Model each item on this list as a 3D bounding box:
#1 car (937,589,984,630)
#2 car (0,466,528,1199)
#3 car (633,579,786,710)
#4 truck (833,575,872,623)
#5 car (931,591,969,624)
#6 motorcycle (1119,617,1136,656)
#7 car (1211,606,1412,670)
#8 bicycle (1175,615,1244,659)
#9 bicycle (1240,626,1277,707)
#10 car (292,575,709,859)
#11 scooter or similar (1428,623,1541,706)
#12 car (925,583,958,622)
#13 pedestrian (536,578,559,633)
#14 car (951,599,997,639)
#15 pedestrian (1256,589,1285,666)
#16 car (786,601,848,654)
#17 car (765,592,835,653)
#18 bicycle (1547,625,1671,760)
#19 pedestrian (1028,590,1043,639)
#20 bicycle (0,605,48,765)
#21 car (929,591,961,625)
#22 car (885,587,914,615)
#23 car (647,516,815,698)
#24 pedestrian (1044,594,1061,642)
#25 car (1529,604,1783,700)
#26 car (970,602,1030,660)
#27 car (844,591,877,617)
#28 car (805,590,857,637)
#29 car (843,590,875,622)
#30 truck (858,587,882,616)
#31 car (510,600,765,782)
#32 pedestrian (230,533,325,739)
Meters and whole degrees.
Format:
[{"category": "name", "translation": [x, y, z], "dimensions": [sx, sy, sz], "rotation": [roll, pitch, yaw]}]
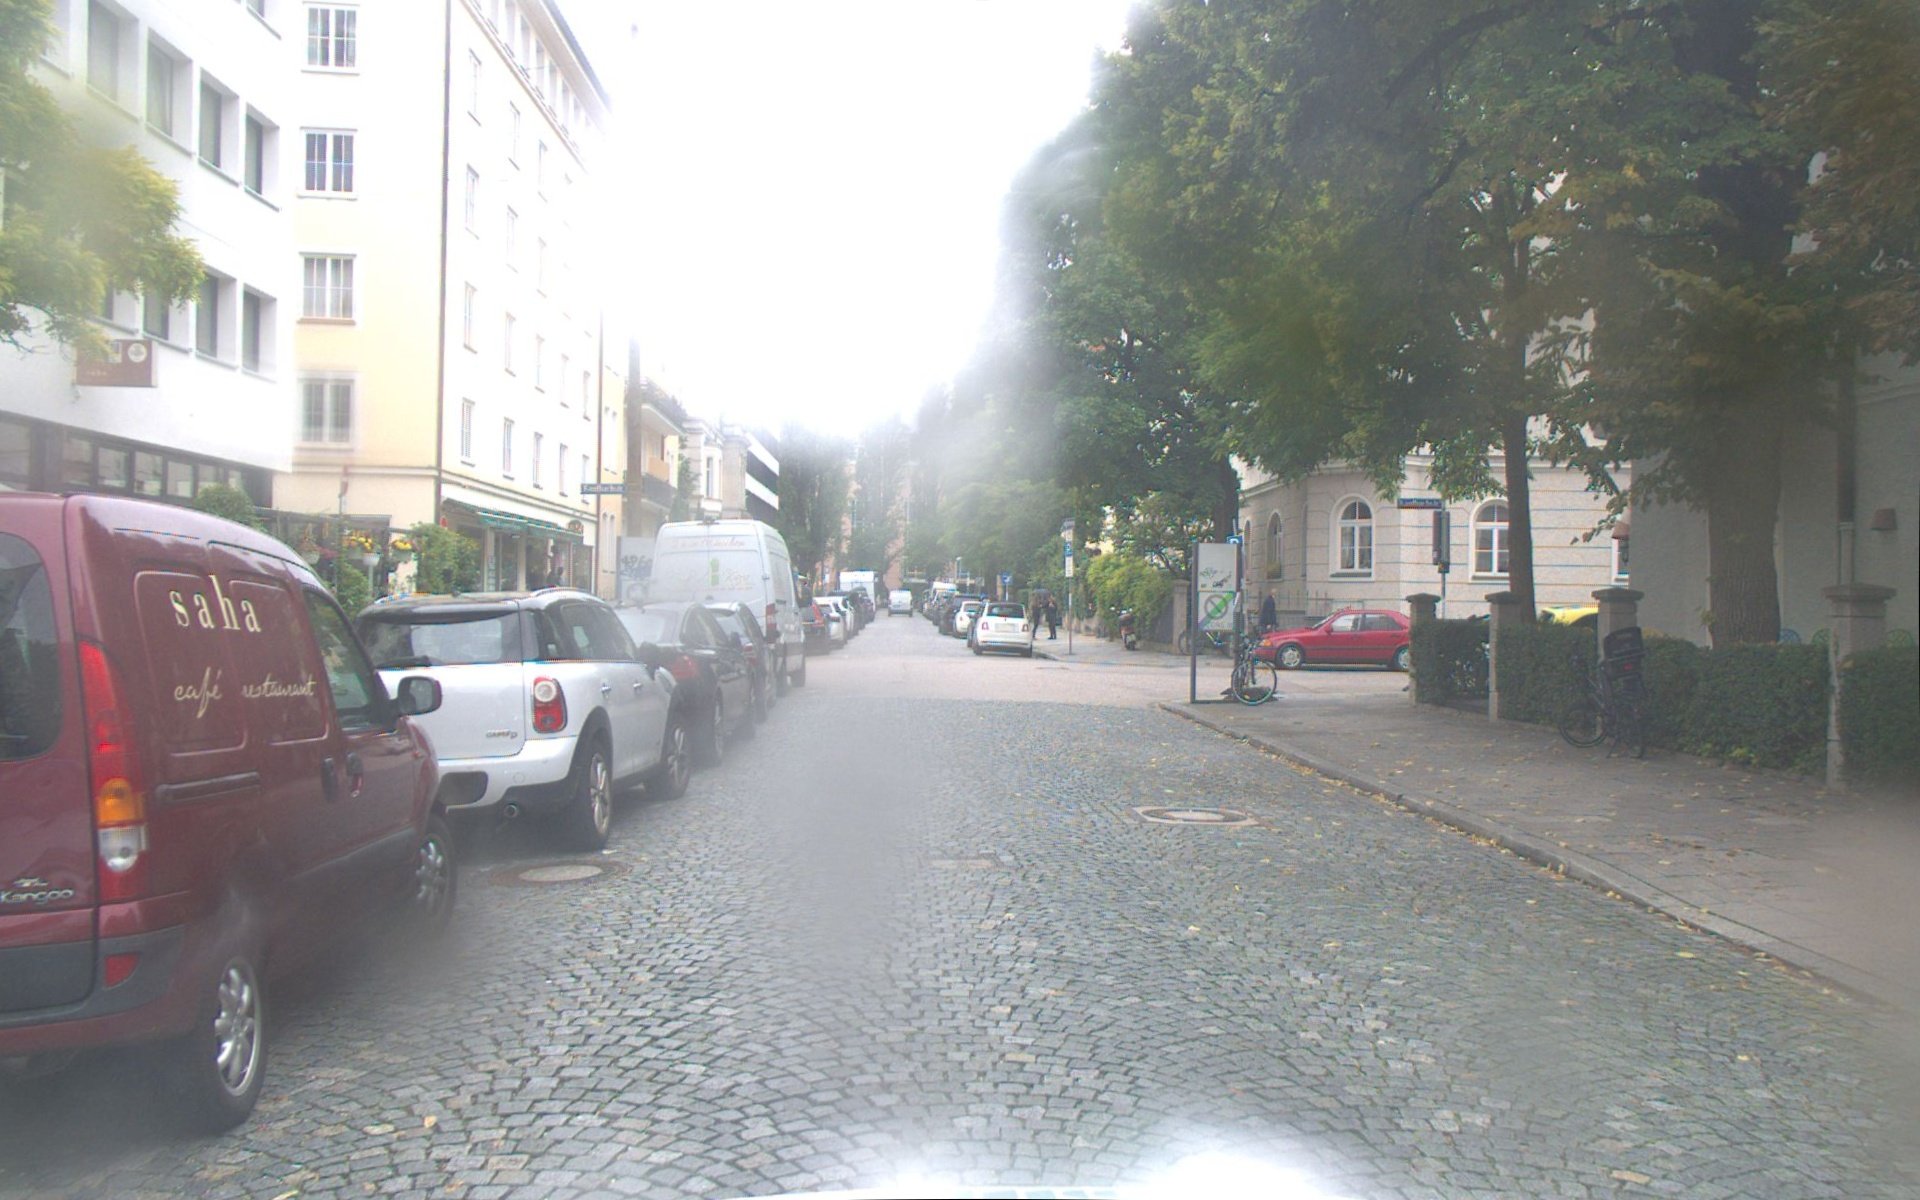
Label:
[{"category": "car", "translation": [-0.016, 0.411, 73.087], "dimensions": [1.837, 1.702, 5.488], "rotation": [1, 0, -2]}, {"category": "car", "translation": [-2.812, 0.570, 5.846], "dimensions": [1.683, 1.753, 3.897], "rotation": [0, 0, -2]}, {"category": "car", "translation": [-3.170, 0.540, 21.543], "dimensions": [1.629, 1.508, 3.978], "rotation": [1, 0, -4]}, {"category": "truck", "translation": [-7.161, -0.116, 110.282], "dimensions": [2.458, 3.084, 6.380], "rotation": [-1, 0, -3]}, {"category": "car", "translation": [-0.594, 0.428, 93.584], "dimensions": [1.924, 1.789, 4.951], "rotation": [1, 0, -3]}, {"category": "motorcycle", "translation": [4.878, 1.050, 48.166], "dimensions": [0.355, 1.109, 1.403], "rotation": [1, -1, 0]}, {"category": "car", "translation": [8.098, 0.862, 38.385], "dimensions": [4.373, 1.382, 1.761], "rotation": [1, 0, 5]}, {"category": "bicycle", "translation": [6.617, 0.977, 43.840], "dimensions": [1.798, 1.144, 0.563], "rotation": [1, 0, 11]}, {"category": "bicycle", "translation": [4.505, 0.986, 25.021], "dimensions": [0.380, 1.167, 1.590], "rotation": [1, -1, 4]}, {"category": "car", "translation": [-2.831, 0.661, 11.044], "dimensions": [1.658, 1.530, 3.777], "rotation": [1, 0, 1]}, {"category": "scooter or similar", "translation": [7.743, 0.944, 24.427], "dimensions": [1.569, 1.193, 0.405], "rotation": [0, -1, 21]}, {"category": "car", "translation": [-1.281, 0.136, 112.129], "dimensions": [1.858, 2.468, 5.608], "rotation": [5, 0, -3]}, {"category": "pedestrian", "translation": [-12.725, 0.181, 51.022], "dimensions": [0.511, 1.671, 0.629], "rotation": [1, -1, -3]}, {"category": "car", "translation": [0.551, 0.766, 68.020], "dimensions": [1.598, 1.495, 3.657], "rotation": [3, 0, -2]}, {"category": "pedestrian", "translation": [7.840, 0.699, 41.804], "dimensions": [0.484, 1.909, 0.741], "rotation": [1, -1, -7]}, {"category": "car", "translation": [-4.459, 0.833, 51.999], "dimensions": [1.738, 1.563, 4.538], "rotation": [1, 0, -2]}, {"category": "car", "translation": [-4.522, 0.630, 47.202], "dimensions": [1.815, 1.614, 4.744], "rotation": [1, 0, -4]}, {"category": "bicycle", "translation": [6.357, 0.875, 16.282], "dimensions": [0.419, 1.219, 1.730], "rotation": [-4, 0, -1]}, {"category": "pedestrian", "translation": [2.932, 0.558, 64.292], "dimensions": [0.563, 1.882, 0.682], "rotation": [1, 0, 5]}, {"category": "bicycle", "translation": [-7.416, 0.639, 12.137], "dimensions": [0.353, 1.195, 1.911], "rotation": [1, 0, 0]}, {"category": "car", "translation": [-1.000, 0.517, 106.707], "dimensions": [1.764, 1.983, 4.857], "rotation": [4, 0, -3]}, {"category": "car", "translation": [-4.341, 0.107, 119.207], "dimensions": [1.956, 1.970, 3.999], "rotation": [1, 0, -1]}, {"category": "car", "translation": [-3.584, 0.119, 26.942], "dimensions": [1.937, 2.619, 5.793], "rotation": [-1, 0, 0]}, {"category": "pedestrian", "translation": [3.625, 0.706, 64.812], "dimensions": [0.615, 1.840, 0.660], "rotation": [1, -1, 2]}, {"category": "car", "translation": [12.844, 0.935, 30.753], "dimensions": [3.987, 1.625, 1.907], "rotation": [1, -1, 9]}, {"category": "car", "translation": [1.107, 0.866, 47.309], "dimensions": [1.471, 1.496, 3.794], "rotation": [3, 0, -1]}, {"category": "car", "translation": [-5.994, 0.265, 99.422], "dimensions": [1.901, 1.485, 4.055], "rotation": [1, 0, -3]}, {"category": "car", "translation": [-4.908, 0.518, 63.472], "dimensions": [1.738, 1.676, 4.389], "rotation": [1, 0, -1]}, {"category": "car", "translation": [-5.730, 0.349, 94.147], "dimensions": [1.738, 1.748, 4.388], "rotation": [1, 0, -3]}, {"category": "truck", "translation": [-7.559, 0.114, 139.434], "dimensions": [1.953, 2.388, 4.066], "rotation": [1, 0, -2]}, {"category": "car", "translation": [-2.977, 0.762, 16.170], "dimensions": [1.691, 1.490, 4.471], "rotation": [-1, 0, -2]}, {"category": "pedestrian", "translation": [-6.407, 0.333, 15.561], "dimensions": [0.602, 1.872, 0.812], "rotation": [1, -1, -9]}]
